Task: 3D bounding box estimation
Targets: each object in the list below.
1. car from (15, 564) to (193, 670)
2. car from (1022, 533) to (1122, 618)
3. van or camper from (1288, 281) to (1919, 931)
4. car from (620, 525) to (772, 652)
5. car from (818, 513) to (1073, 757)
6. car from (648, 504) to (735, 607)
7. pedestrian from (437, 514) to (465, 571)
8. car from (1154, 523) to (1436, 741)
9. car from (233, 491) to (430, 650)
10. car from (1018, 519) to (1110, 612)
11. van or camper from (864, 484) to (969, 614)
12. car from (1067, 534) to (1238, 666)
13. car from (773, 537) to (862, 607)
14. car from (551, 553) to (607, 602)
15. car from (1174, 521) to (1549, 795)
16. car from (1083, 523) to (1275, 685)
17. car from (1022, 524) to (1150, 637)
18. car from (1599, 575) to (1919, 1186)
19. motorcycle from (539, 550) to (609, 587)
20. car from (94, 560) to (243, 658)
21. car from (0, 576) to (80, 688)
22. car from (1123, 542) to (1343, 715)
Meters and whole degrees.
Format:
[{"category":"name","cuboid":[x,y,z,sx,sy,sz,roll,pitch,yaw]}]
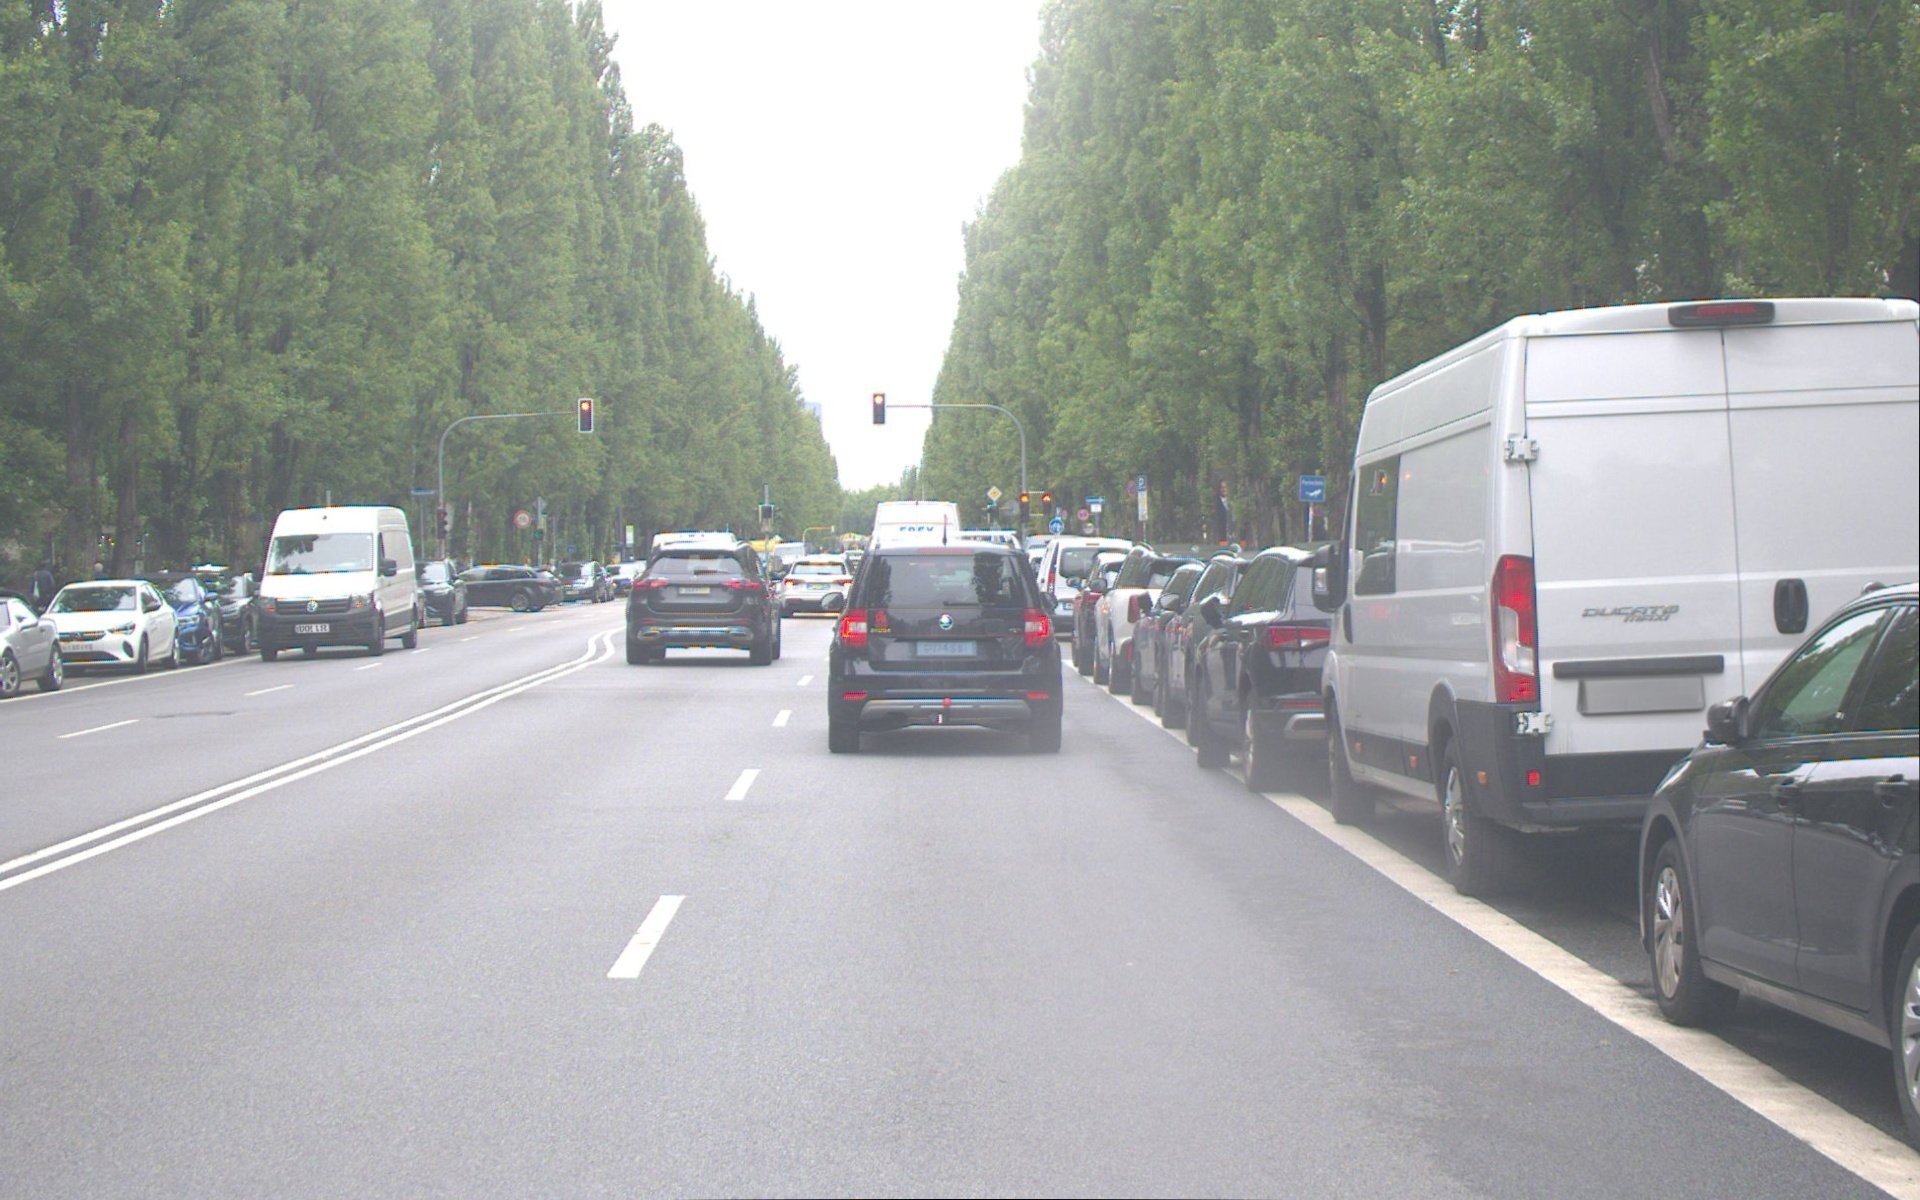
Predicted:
[{"category":"car","cuboid":[-13.219,0.232,53.289,1.770,1.447,4.234,-3,1,-2]},{"category":"car","cuboid":[2.174,-0.506,67.765,1.741,1.587,4.212,-1,1,-1]},{"category":"van or camper","cuboid":[3.034,-0.036,16.749,2.138,2.531,6.418,-1,1,-1]},{"category":"car","cuboid":[-3.511,-0.191,46.325,1.781,1.614,4.025,0,1,-1]},{"category":"car","cuboid":[-0.127,0.223,27.326,1.855,1.764,4.000,1,1,-1]},{"category":"car","cuboid":[-5.679,-0.941,73.000,1.781,2.104,4.025,-1,1,-4]},{"category":"pedestrian","cuboid":[-14.237,-1.615,96.172,0.660,1.572,0.530,-1,1,0]},{"category":"car","cuboid":[2.669,0.193,28.356,1.784,1.612,4.638,-1,1,-1]},{"category":"car","cuboid":[-10.723,-0.538,59.228,2.227,2.475,6.759,-3,1,-2]},{"category":"car","cuboid":[2.183,-0.753,73.059,1.735,1.888,4.025,-1,1,-1]},{"category":"van or camper","cuboid":[-0.927,-1.059,70.290,1.975,2.539,4.025,-1,1,-2]},{"category":"car","cuboid":[2.387,-0.042,43.633,1.880,1.535,4.464,-1,1,0]},{"category":"car","cuboid":[-3.327,-0.686,80.674,1.993,1.555,4.000,-1,1,-2]},{"category":"car","cuboid":[-14.417,-0.863,130.193,1.688,1.776,3.775,-1,1,-1]},{"category":"car","cuboid":[2.596,0.302,23.242,1.784,1.643,4.418,-1,1,-3]},{"category":"car","cuboid":[2.377,-0.011,38.313,1.742,1.670,4.580,-1,1,-1]},{"category":"car","cuboid":[2.174,-0.375,60.391,1.851,1.875,4.169,-1,1,-3]},{"category":"car","cuboid":[3.079,0.663,9.610,1.676,1.415,4.001,-1,1,-2]},{"category":"motorcycle","cuboid":[-13.673,-1.114,121.739,2.363,1.265,0.930,-1,1,0]},{"category":"car","cuboid":[-13.195,0.122,57.480,1.709,1.446,3.586,-4,1,-2]},{"category":"car","cuboid":[-12.864,0.435,44.587,1.826,1.329,4.234,-3,1,-1]},{"category":"car","cuboid":[2.582,0.220,33.385,1.702,1.514,4.295,-1,1,-1]}]
